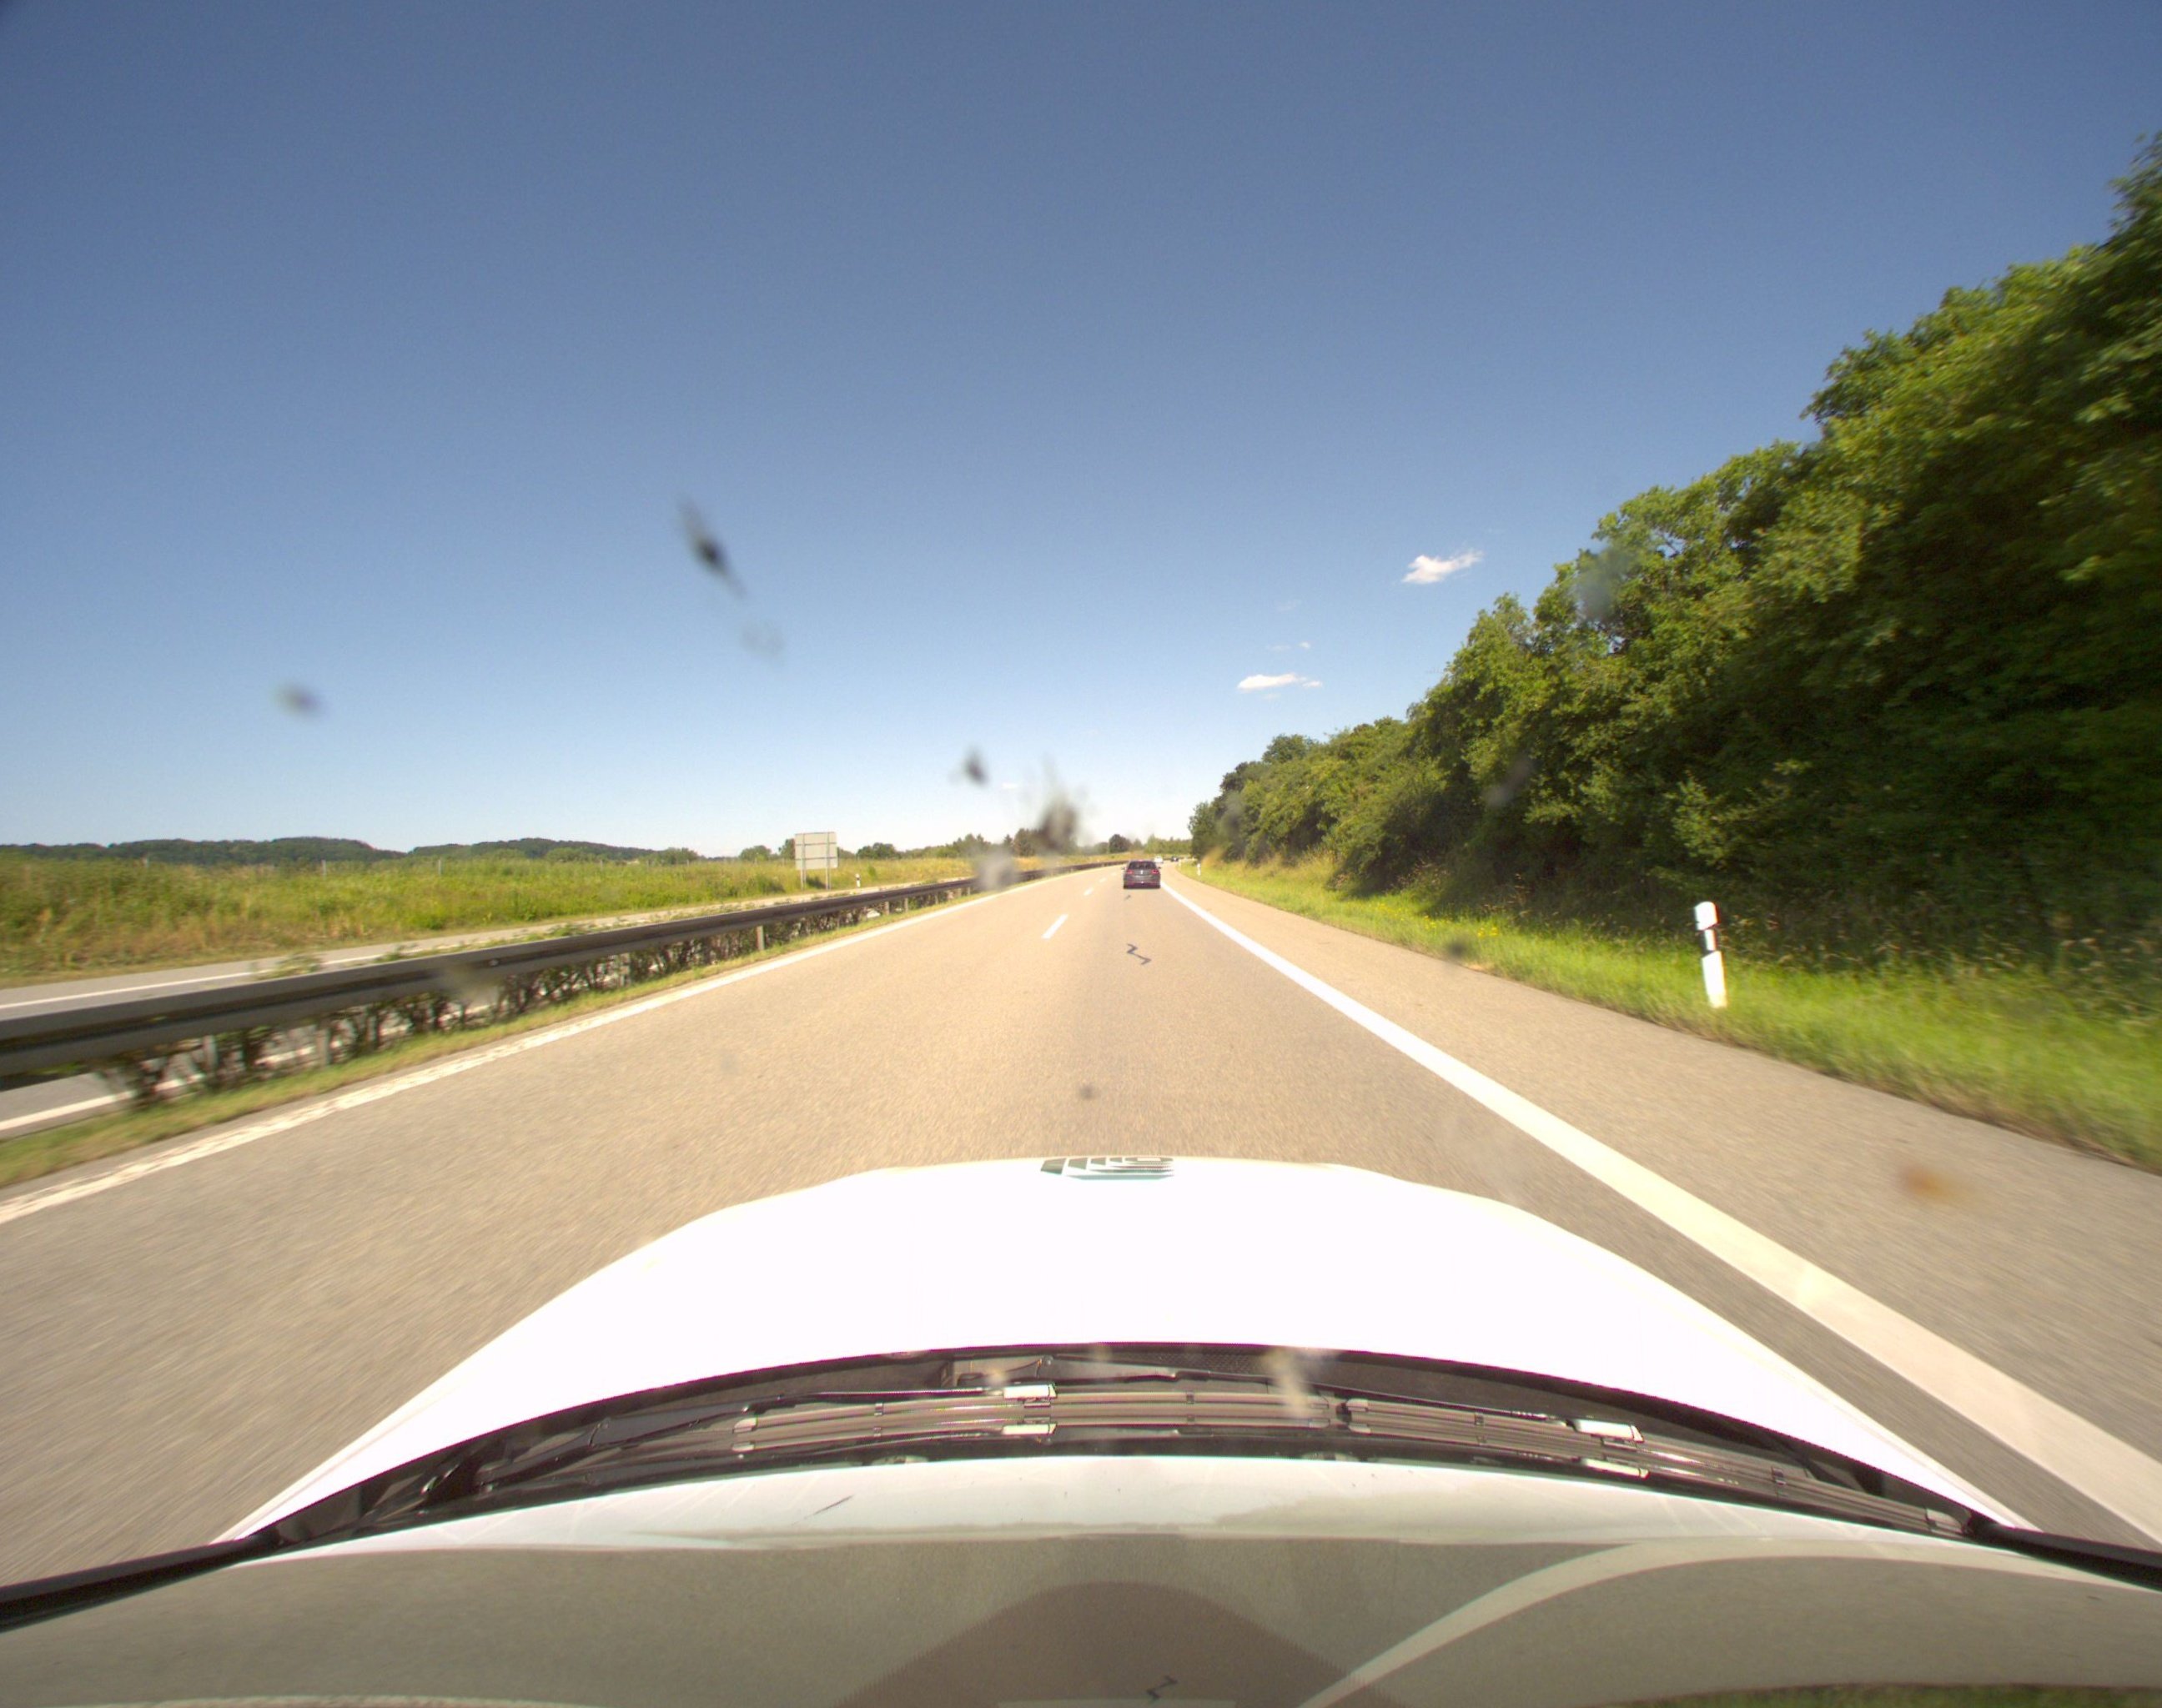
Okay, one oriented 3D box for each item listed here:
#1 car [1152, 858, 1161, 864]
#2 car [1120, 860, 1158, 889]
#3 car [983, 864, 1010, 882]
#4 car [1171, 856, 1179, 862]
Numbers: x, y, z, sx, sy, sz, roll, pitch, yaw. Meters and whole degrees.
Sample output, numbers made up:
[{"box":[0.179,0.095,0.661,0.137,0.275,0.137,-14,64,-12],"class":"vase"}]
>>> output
[{"box":[16.346,1.556,175.944,1.998,1.345,4.005,0,-1,5],"class":"car"},{"box":[2.820,0.975,39.845,1.783,1.344,4.003,0,-1,3],"class":"car"},{"box":[-8.744,1.949,84.384,1.757,1.623,5.015,-5,0,5],"class":"car"},{"box":[23.497,1.333,202.887,1.699,1.387,3.365,0,-1,11],"class":"car"}]
